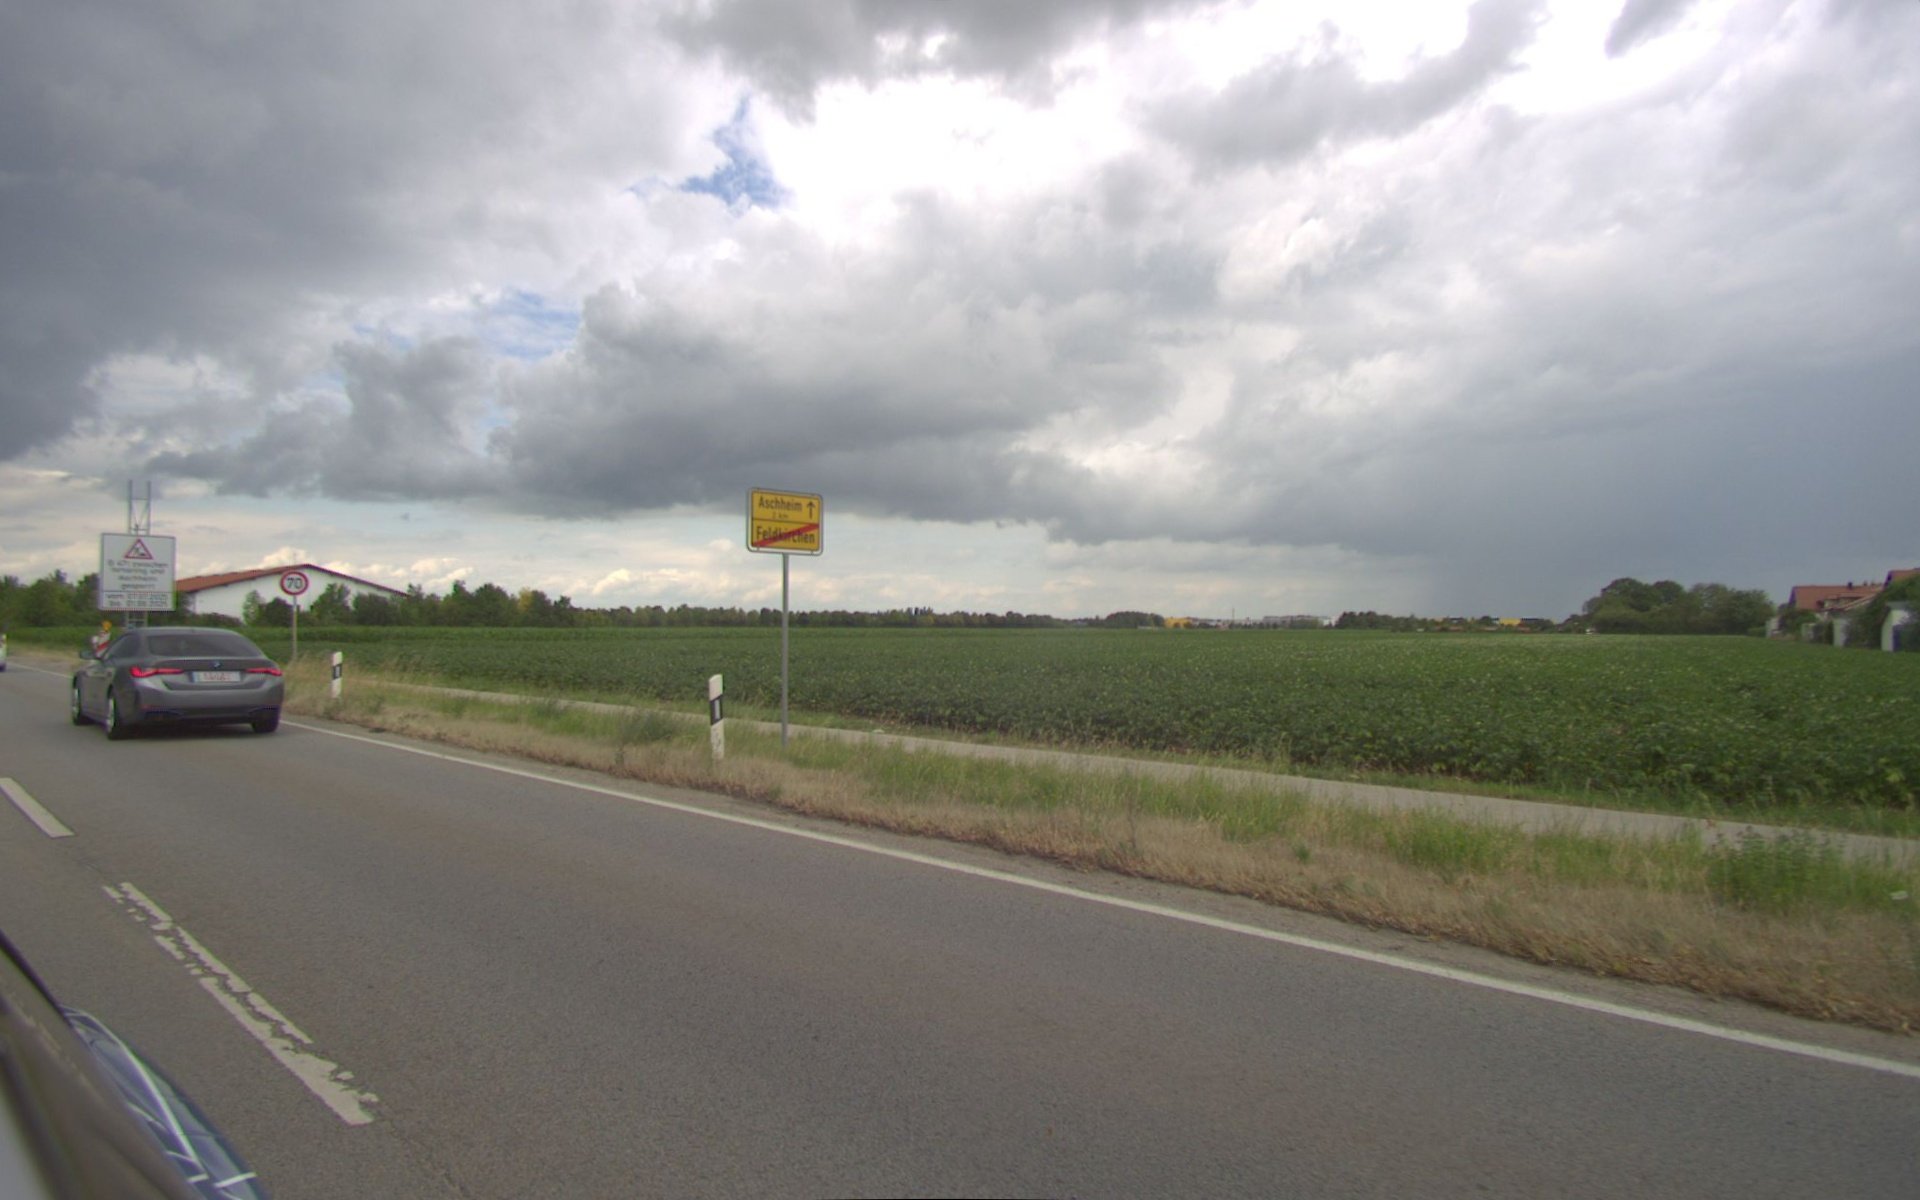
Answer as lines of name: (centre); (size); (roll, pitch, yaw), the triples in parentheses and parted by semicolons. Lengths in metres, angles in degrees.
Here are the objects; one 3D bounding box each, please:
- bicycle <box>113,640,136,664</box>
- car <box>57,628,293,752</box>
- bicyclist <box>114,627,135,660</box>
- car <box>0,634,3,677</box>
bicycle: (-41.173, 2.547, 49.843); (1.793, 1.164, 0.523); (-1, -4, 41)
car: (-11.245, 1.161, 14.382); (4.369, 1.475, 1.833); (-1, -3, 41)
bicyclist: (-41.111, 2.118, 49.811); (1.222, 1.596, 0.523); (-1, -4, 41)
car: (-32.291, 1.757, 32.565); (4.098, 1.383, 1.754); (-1, -4, 41)
